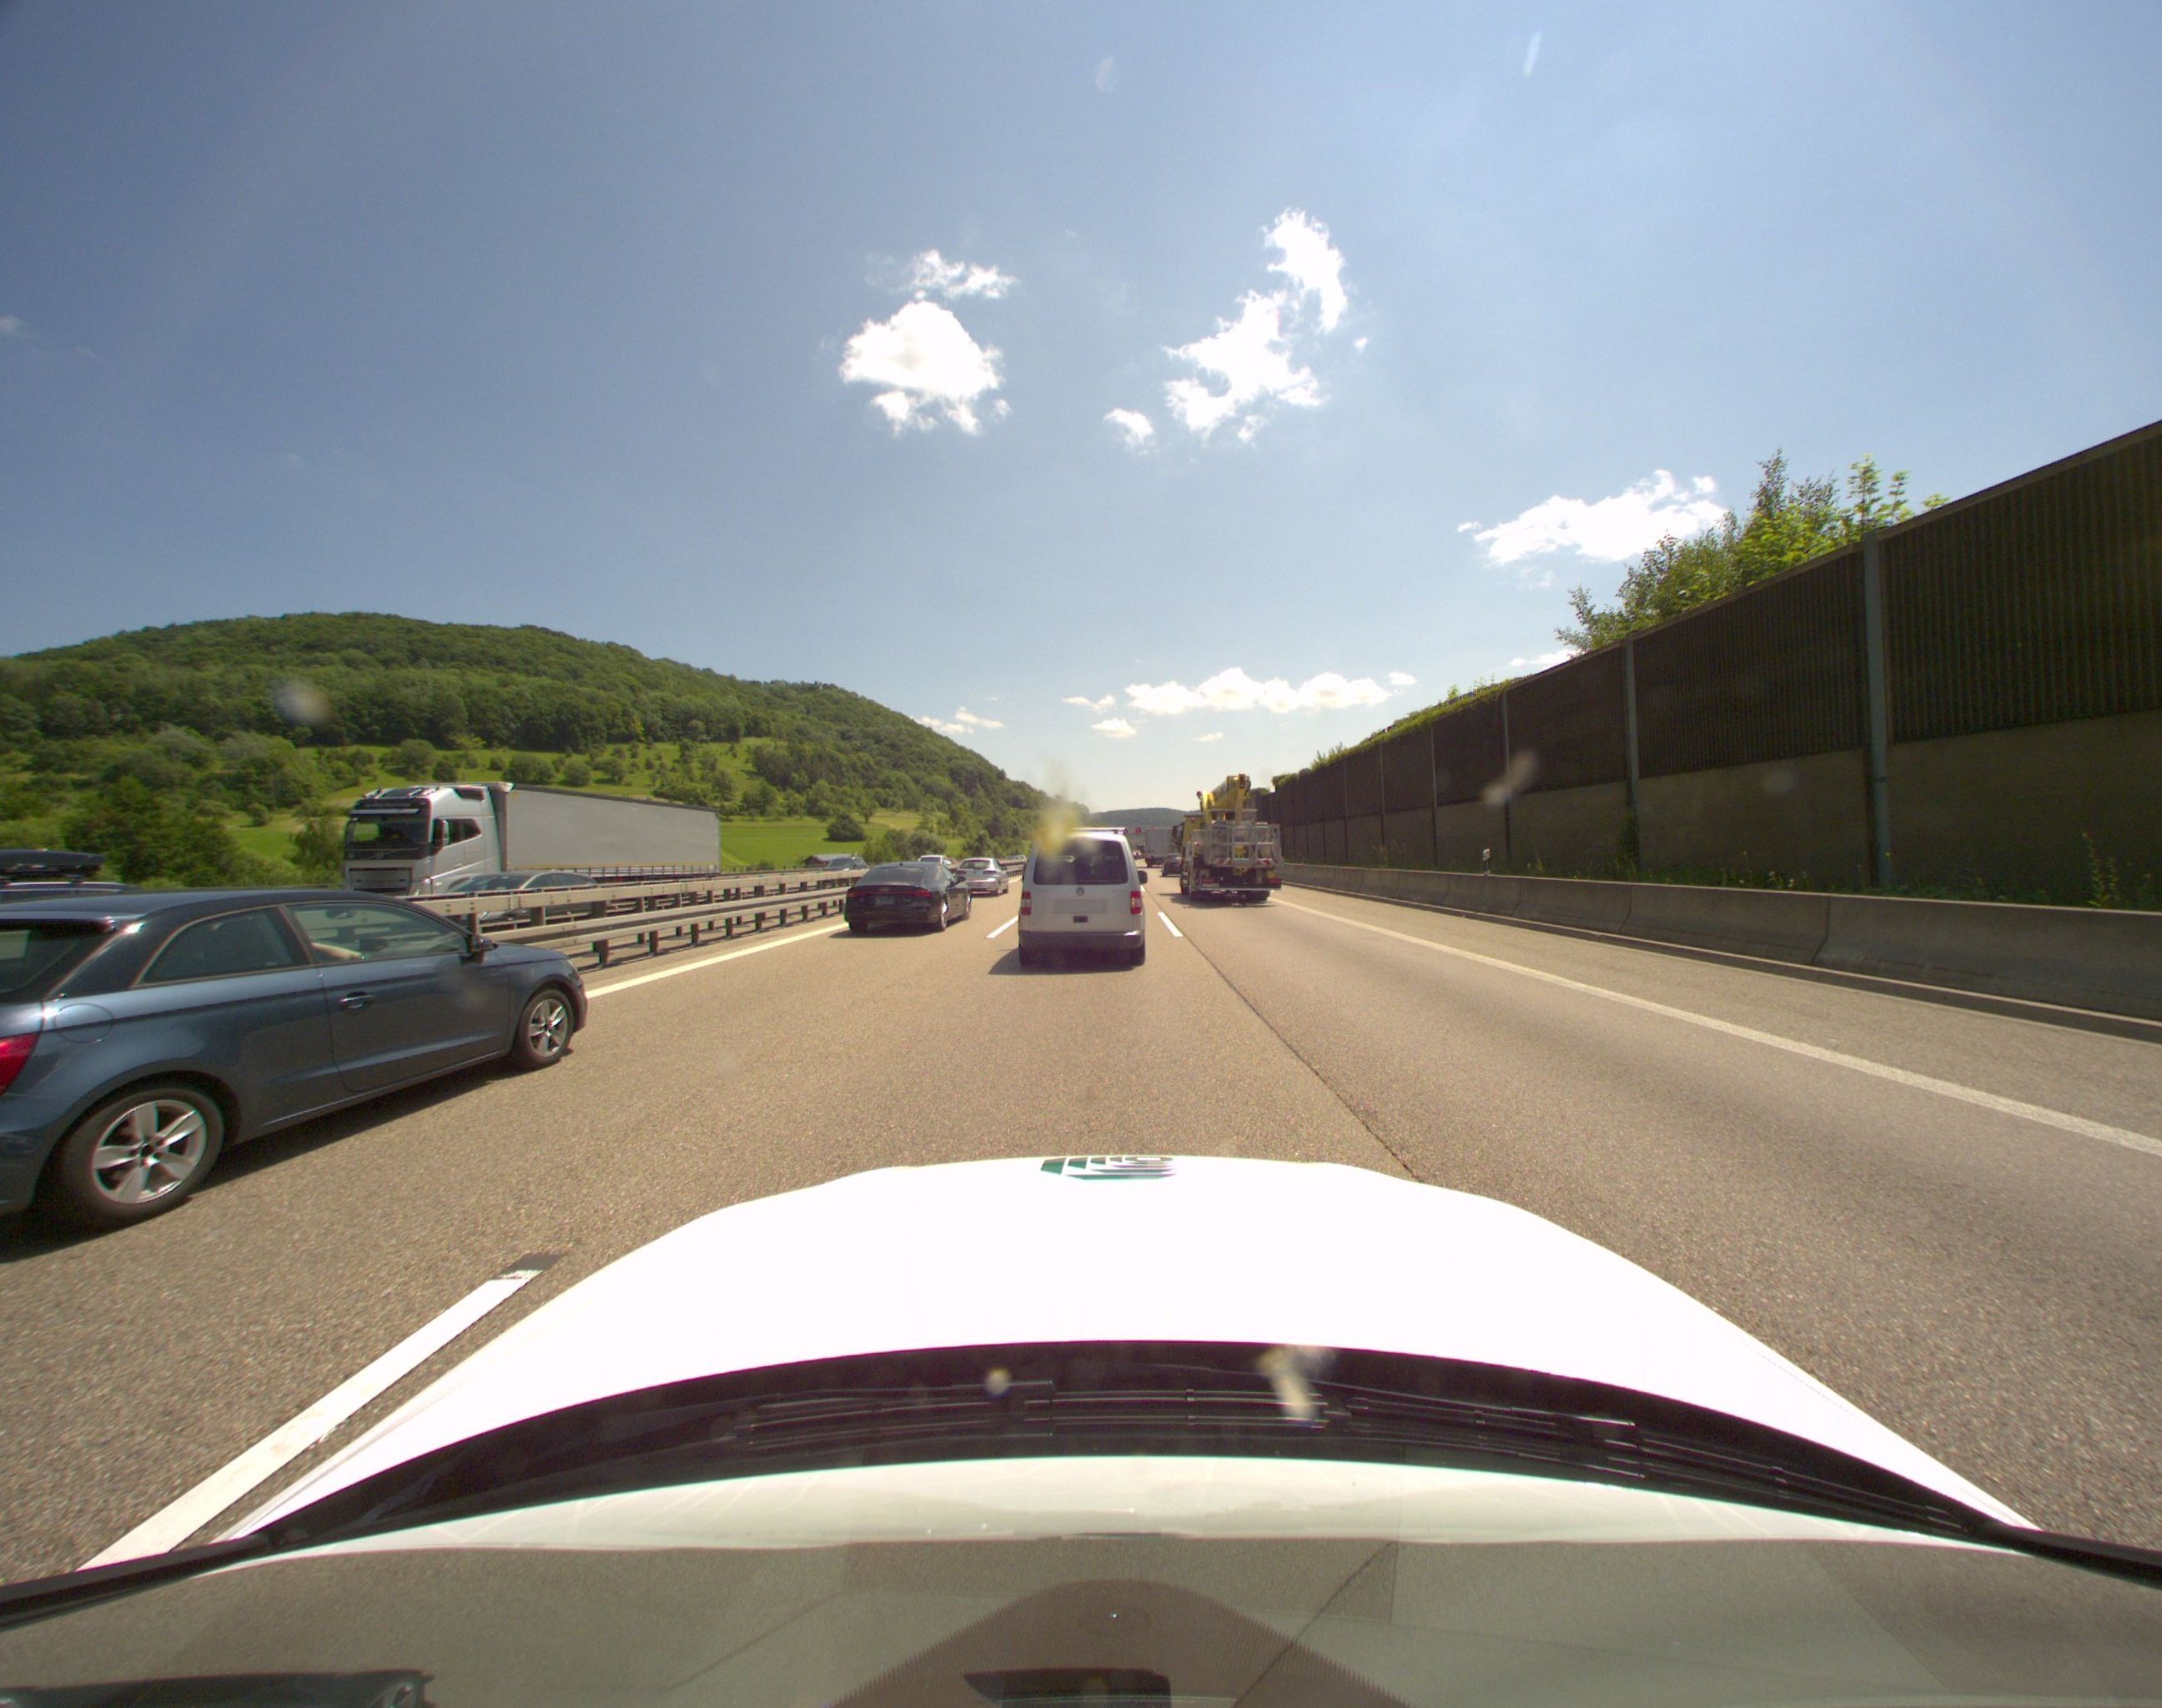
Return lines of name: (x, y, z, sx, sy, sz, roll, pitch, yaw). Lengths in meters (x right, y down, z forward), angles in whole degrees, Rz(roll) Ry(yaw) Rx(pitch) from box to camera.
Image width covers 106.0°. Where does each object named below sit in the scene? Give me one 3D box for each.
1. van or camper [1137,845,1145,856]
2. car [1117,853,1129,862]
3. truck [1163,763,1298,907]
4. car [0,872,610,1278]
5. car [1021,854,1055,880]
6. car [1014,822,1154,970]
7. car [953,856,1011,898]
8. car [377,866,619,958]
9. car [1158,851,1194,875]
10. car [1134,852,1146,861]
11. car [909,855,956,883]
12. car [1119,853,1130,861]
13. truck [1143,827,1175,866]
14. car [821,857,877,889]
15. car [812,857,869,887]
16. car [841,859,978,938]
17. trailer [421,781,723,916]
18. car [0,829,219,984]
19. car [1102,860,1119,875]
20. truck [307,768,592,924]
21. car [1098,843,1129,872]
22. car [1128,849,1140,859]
van or camper: (16.736, -0.915, 228.026, 1.986, 2.953, 5.425, 0, -1, 2)
car: (8.485, 0.766, 164.212, 2.108, 1.828, 3.998, 0, -1, -1)
truck: (4.609, -0.534, 27.086, 2.696, 3.942, 8.718, -1, 0, -1)
car: (-4.725, 0.860, 4.608, 1.682, 1.388, 4.001, -1, 0, 1)
car: (-2.576, 0.747, 49.527, 1.919, 1.499, 3.998, 0, 0, -1)
car: (0.010, 0.536, 12.439, 1.751, 1.868, 3.998, -1, 0, -1)
car: (-3.671, 0.816, 30.720, 1.690, 1.445, 3.860, -1, 0, -1)
car: (-11.155, 1.028, 16.006, 1.761, 1.484, 4.026, -1, 0, 1)
car: (6.026, 0.573, 52.109, 1.781, 1.458, 3.769, -1, 0, -1)
car: (12.288, 0.524, 169.728, 2.108, 1.828, 3.998, 0, -1, -1)
car: (-9.426, 0.901, 52.024, 1.986, 1.693, 4.511, -1, 0, 2)
car: (9.987, 0.684, 186.835, 2.108, 1.828, 3.998, 0, -1, -1)
truck: (7.854, -0.683, 82.869, 2.928, 3.823, 8.243, 0, -1, 3)
car: (-13.889, 1.114, 48.980, 1.986, 1.792, 4.278, 0, -1, 2)
car: (-13.913, 0.997, 47.403, 1.862, 1.618, 4.357, -1, 0, 2)
car: (-3.502, 0.851, 17.654, 1.794, 1.390, 4.970, -1, 0, 1)
trailer: (-18.823, -0.113, 32.024, 3.234, 4.204, 13.006, 0, -1, 2)
car: (-15.696, 0.736, 11.688, 1.877, 2.118, 4.288, -1, 0, 4)
car: (3.754, 1.678, 103.741, 2.106, 1.828, 4.002, 0, -1, 2)
truck: (-19.049, -0.190, 25.335, 3.266, 4.148, 6.957, -1, -1, 1)
car: (2.277, 0.246, 58.180, 1.988, 1.975, 3.998, -1, 0, -1)
car: (9.290, -0.045, 143.341, 1.986, 1.749, 4.002, 0, -1, 2)
